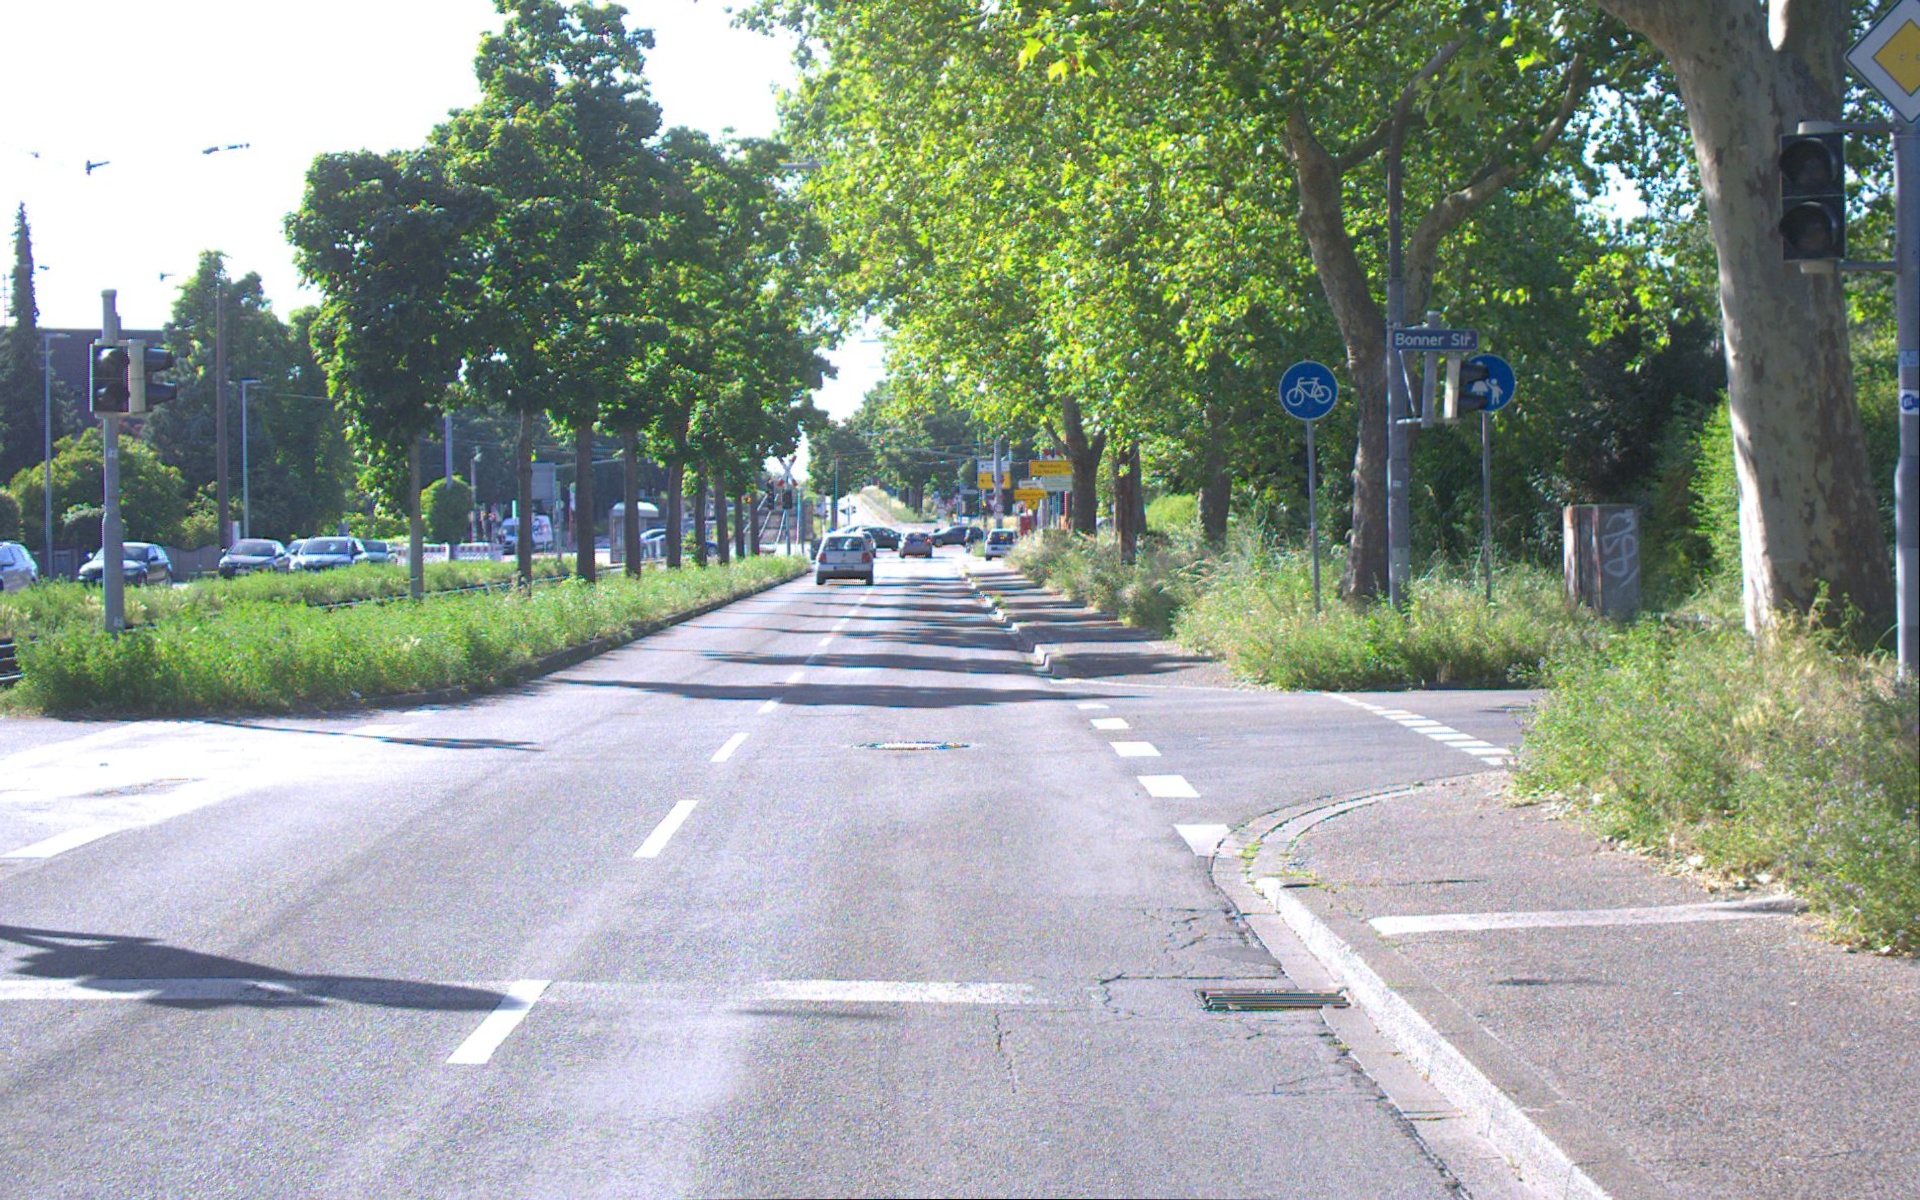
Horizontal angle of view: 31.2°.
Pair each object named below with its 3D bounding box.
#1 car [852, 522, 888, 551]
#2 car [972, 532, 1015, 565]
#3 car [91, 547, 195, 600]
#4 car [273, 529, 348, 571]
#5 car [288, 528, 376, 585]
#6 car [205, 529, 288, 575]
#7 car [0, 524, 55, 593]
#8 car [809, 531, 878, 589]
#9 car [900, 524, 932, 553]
[{"bbox_3d":[-5.141,-3.624,196.899,1.993,1.598,4.474,1,1,-1],"label":"car"},{"bbox_3d":[1.658,-2.571,170.320,1.993,1.598,4.474,1,1,-1],"label":"car"},{"bbox_3d":[-22.143,-0.726,93.301,1.860,1.365,4.228,1,1,-1],"label":"car"},{"bbox_3d":[-22.928,-1.786,121.413,1.860,1.426,4.462,1,1,-1],"label":"car"},{"bbox_3d":[-17.649,-1.245,96.840,1.660,1.547,4.811,1,1,-1],"label":"car"},{"bbox_3d":[-23.120,-1.564,111.542,1.860,1.408,4.159,1,1,-1],"label":"car"},{"bbox_3d":[-22.451,-0.973,79.111,1.993,1.540,4.780,1,1,0],"label":"car"},{"bbox_3d":[-3.316,-1.168,98.270,1.860,1.595,4.228,1,1,-1],"label":"car"},{"bbox_3d":[-2.462,-3.409,191.622,1.791,1.553,4.228,1,1,-1],"label":"car"}]
